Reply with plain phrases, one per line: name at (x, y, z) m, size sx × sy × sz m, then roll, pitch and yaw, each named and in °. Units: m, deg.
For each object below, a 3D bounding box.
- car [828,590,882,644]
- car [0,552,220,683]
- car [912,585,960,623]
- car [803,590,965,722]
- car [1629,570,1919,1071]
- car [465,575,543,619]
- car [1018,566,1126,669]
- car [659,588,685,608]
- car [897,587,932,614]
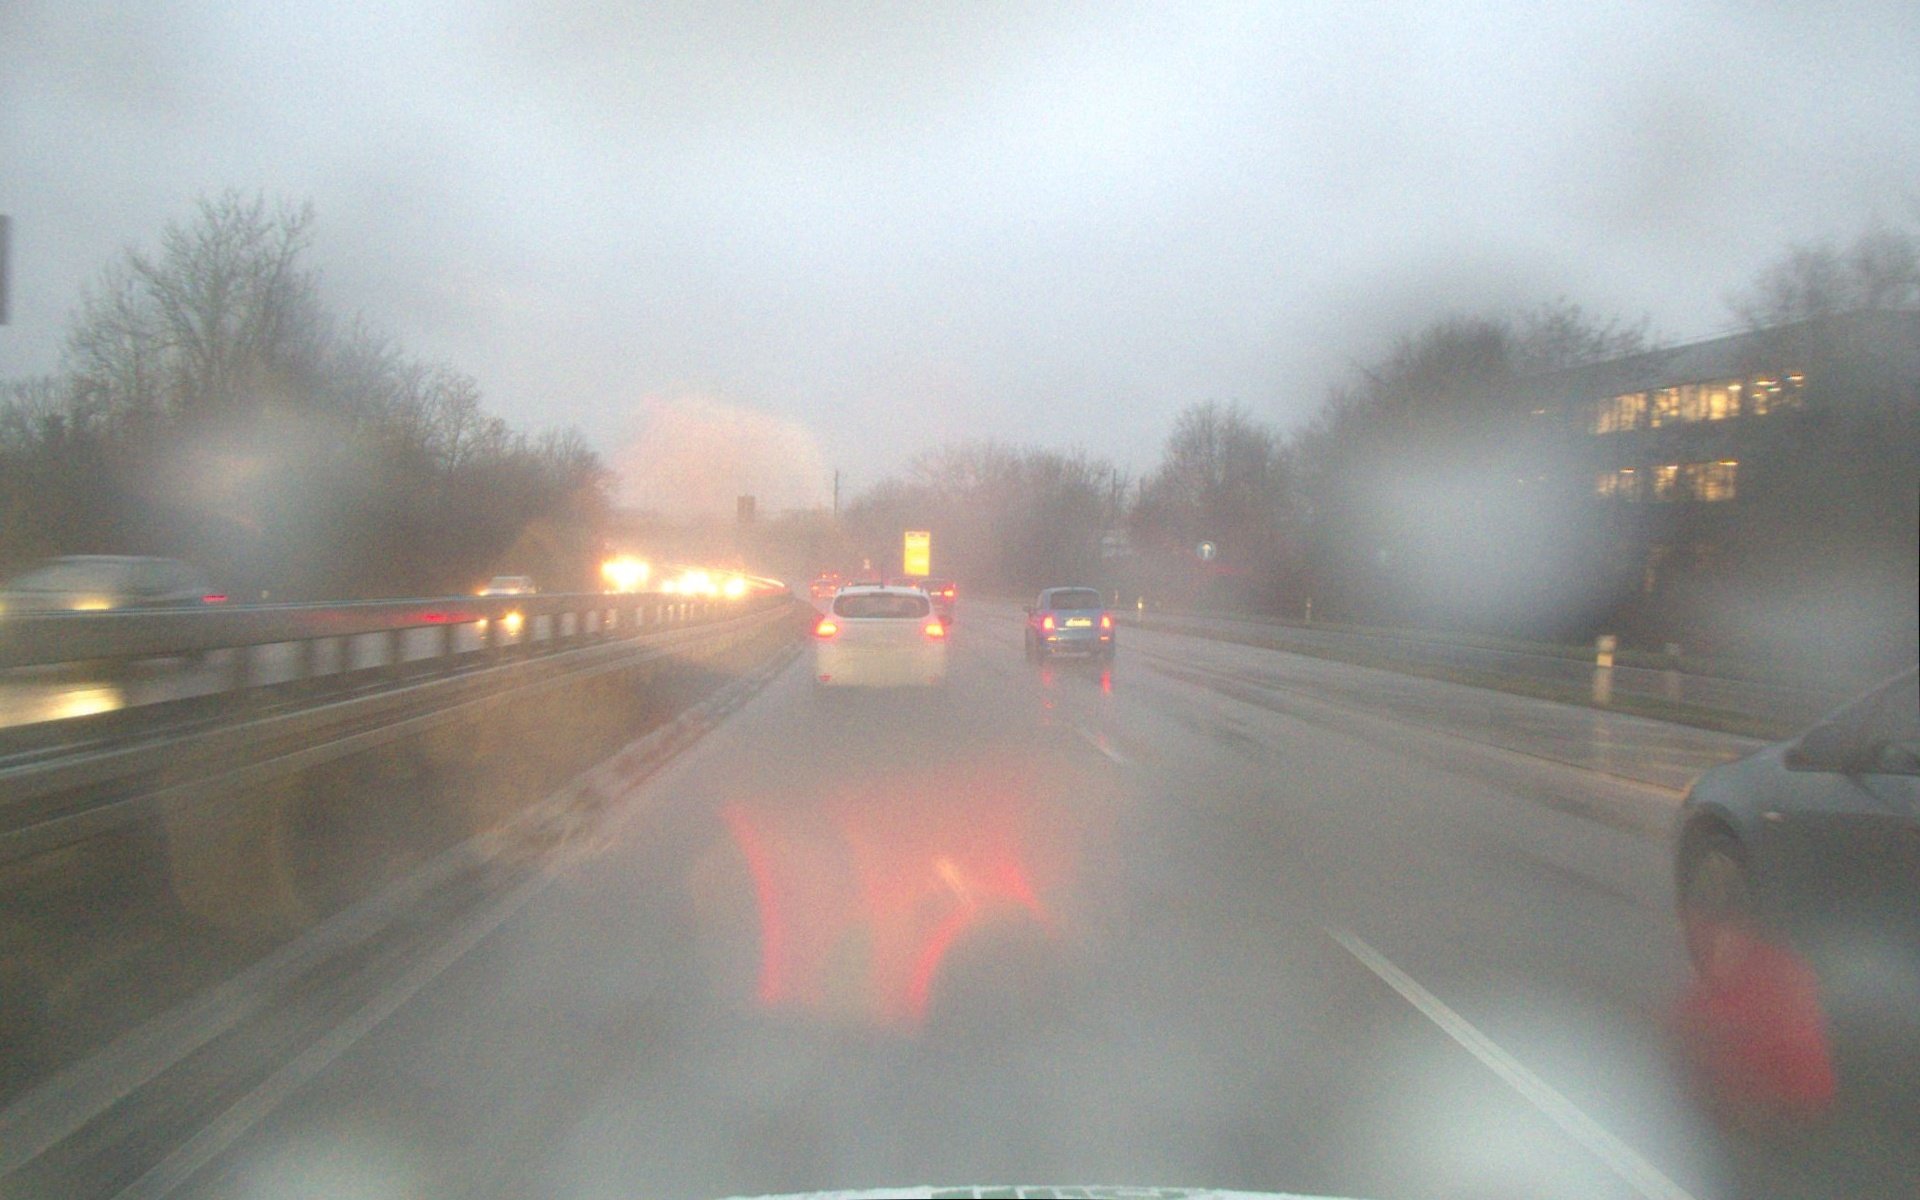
car at (-4.177, 0.632, 65.480) m, size 1.955 × 2.049 × 3.995 m, roll 1°, pitch 0°, yaw -6°
car at (-11.849, 0.191, 22.423) m, size 1.800 × 1.583 × 4.353 m, roll 1°, pitch 0°, yaw -2°
car at (-1.158, 0.201, 78.084) m, size 1.896 × 1.573 × 3.769 m, roll -5°, pitch 0°, yaw -5°
car at (-0.981, 0.685, 22.515) m, size 1.984 × 1.602 × 3.999 m, roll 1°, pitch 0°, yaw -1°
car at (3.851, 0.688, 4.964) m, size 1.812 × 1.528 × 4.260 m, roll 1°, pitch 0°, yaw -2°
car at (-21.032, -0.132, 76.447) m, size 1.951 × 1.947 × 4.449 m, roll 1°, pitch 0°, yaw 6°
car at (2.327, 0.340, 35.273) m, size 1.893 × 2.054 × 3.772 m, roll 1°, pitch 0°, yaw -2°
car at (-23.271, -0.170, 133.760) m, size 1.671 × 1.593 × 4.845 m, roll 1°, pitch 0°, yaw -6°
car at (-2.785, -0.007, 100.463) m, size 1.894 × 1.573 × 3.770 m, roll 1°, pitch 0°, yaw -4°
